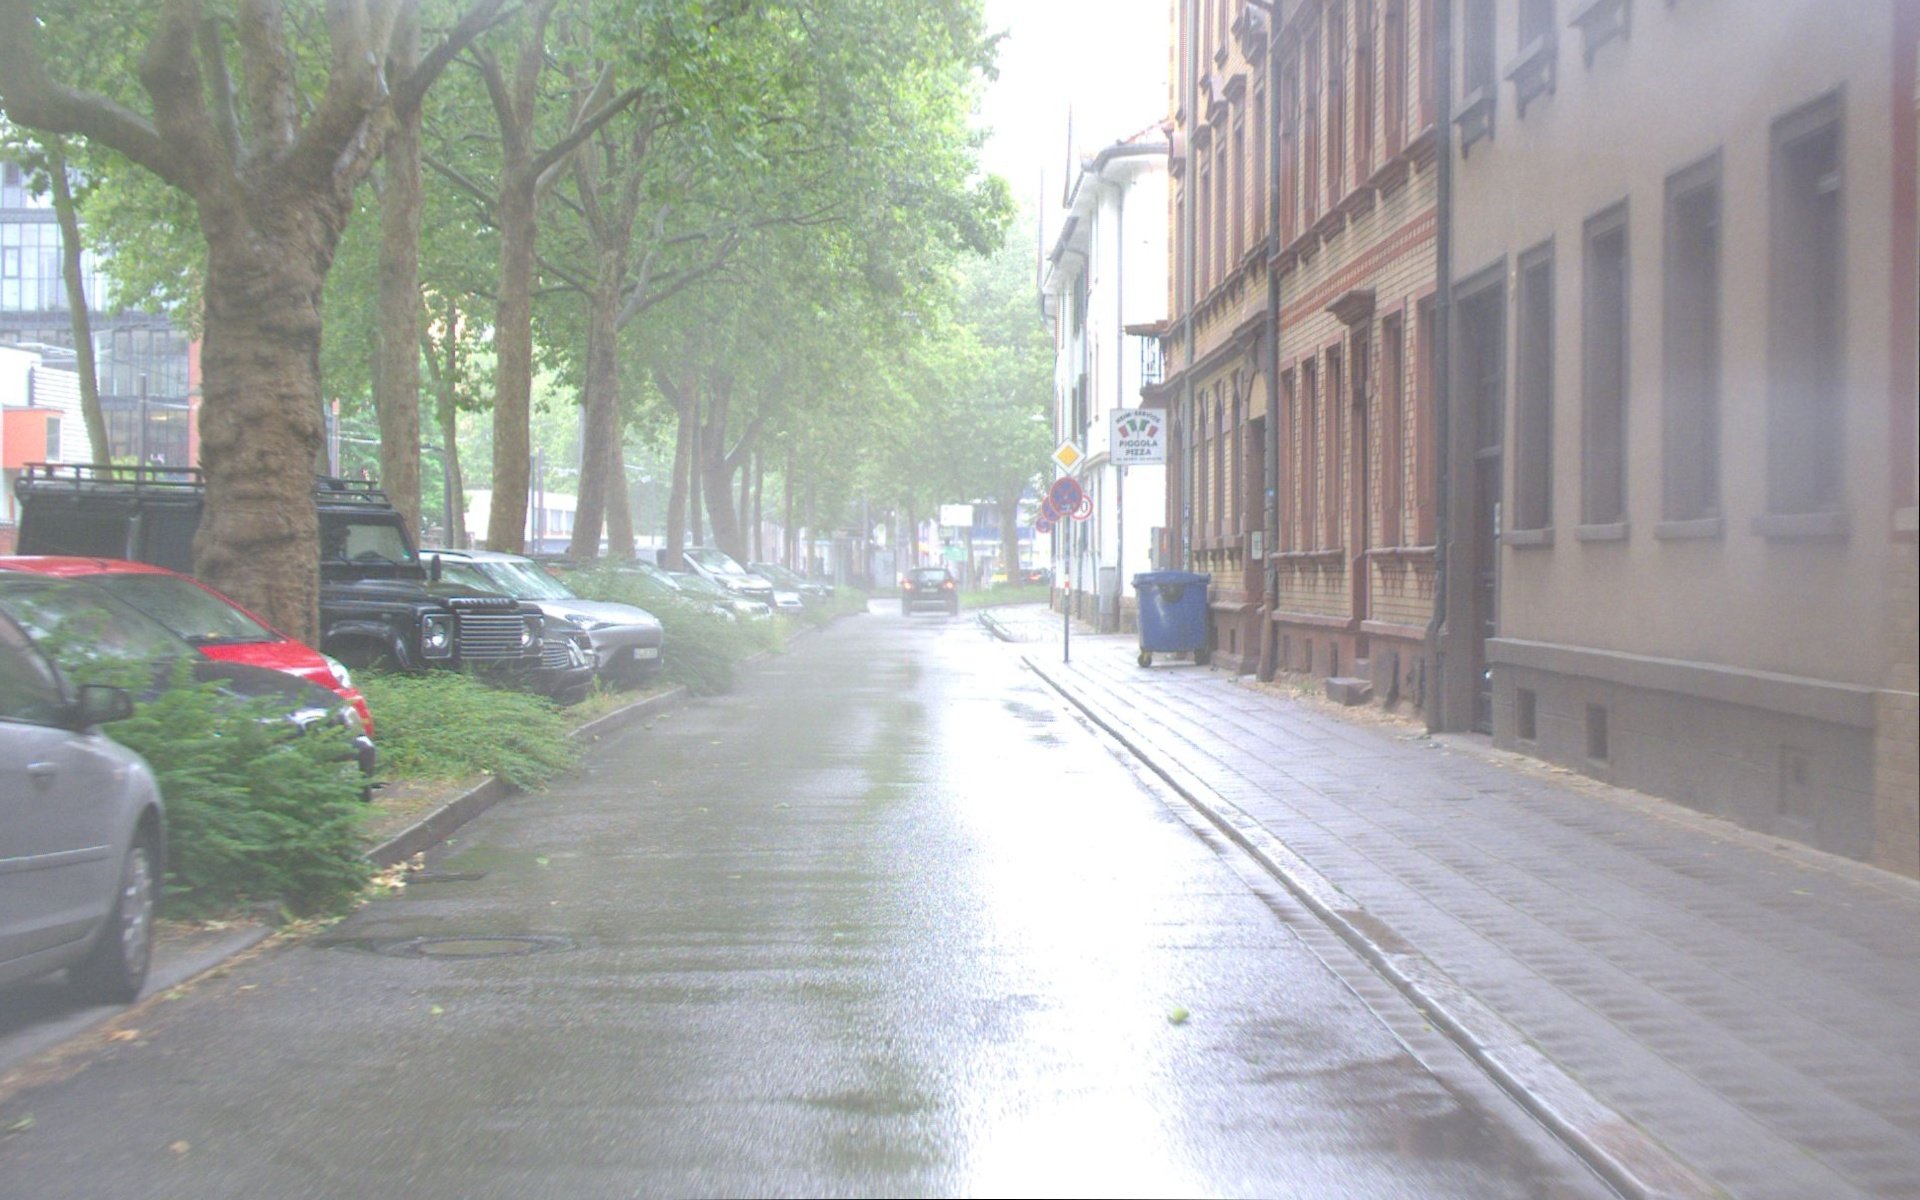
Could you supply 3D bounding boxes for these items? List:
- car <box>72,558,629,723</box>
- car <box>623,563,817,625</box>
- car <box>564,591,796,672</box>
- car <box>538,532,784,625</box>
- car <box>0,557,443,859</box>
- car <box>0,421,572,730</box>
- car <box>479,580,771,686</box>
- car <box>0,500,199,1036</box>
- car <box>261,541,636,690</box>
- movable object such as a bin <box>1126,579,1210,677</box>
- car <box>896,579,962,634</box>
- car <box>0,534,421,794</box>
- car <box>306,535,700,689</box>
[{"bbox_3d":[-5.399,0.326,30.341,4.652,1.321,1.844,1,0,27],"label":"car"},{"bbox_3d":[-5.912,-0.149,84.489,4.553,1.477,1.772,0,0,30],"label":"car"},{"bbox_3d":[-5.611,0.614,68.873,4.308,1.432,1.745,2,1,26],"label":"car"},{"bbox_3d":[-6.585,-0.459,75.564,5.124,1.971,2.099,0,0,30],"label":"car"},{"bbox_3d":[-4.931,0.496,18.087,4.039,1.430,1.779,1,0,25],"label":"car"},{"bbox_3d":[-5.561,-0.205,27.427,4.654,2.275,2.008,1,0,33],"label":"car"},{"bbox_3d":[-5.378,0.538,55.063,4.411,1.640,1.868,-1,-1,31],"label":"car"},{"bbox_3d":[-3.543,0.434,9.941,1.729,1.509,4.207,3,0,-1],"label":"car"},{"bbox_3d":[-5.338,0.153,35.921,3.503,1.463,1.640,1,0,21],"label":"car"},{"bbox_3d":[2.892,0.379,47.960,1.021,1.297,1.367,-2,1,-1],"label":"movable object such as a bin"},{"bbox_3d":[-1.003,0.221,109.265,1.993,1.634,4.000,2,0,-1],"label":"car"},{"bbox_3d":[-5.201,0.339,20.611,3.497,1.431,1.779,1,0,27],"label":"car"},{"bbox_3d":[-5.138,0.119,38.573,4.059,1.532,1.832,2,1,30],"label":"car"}]
